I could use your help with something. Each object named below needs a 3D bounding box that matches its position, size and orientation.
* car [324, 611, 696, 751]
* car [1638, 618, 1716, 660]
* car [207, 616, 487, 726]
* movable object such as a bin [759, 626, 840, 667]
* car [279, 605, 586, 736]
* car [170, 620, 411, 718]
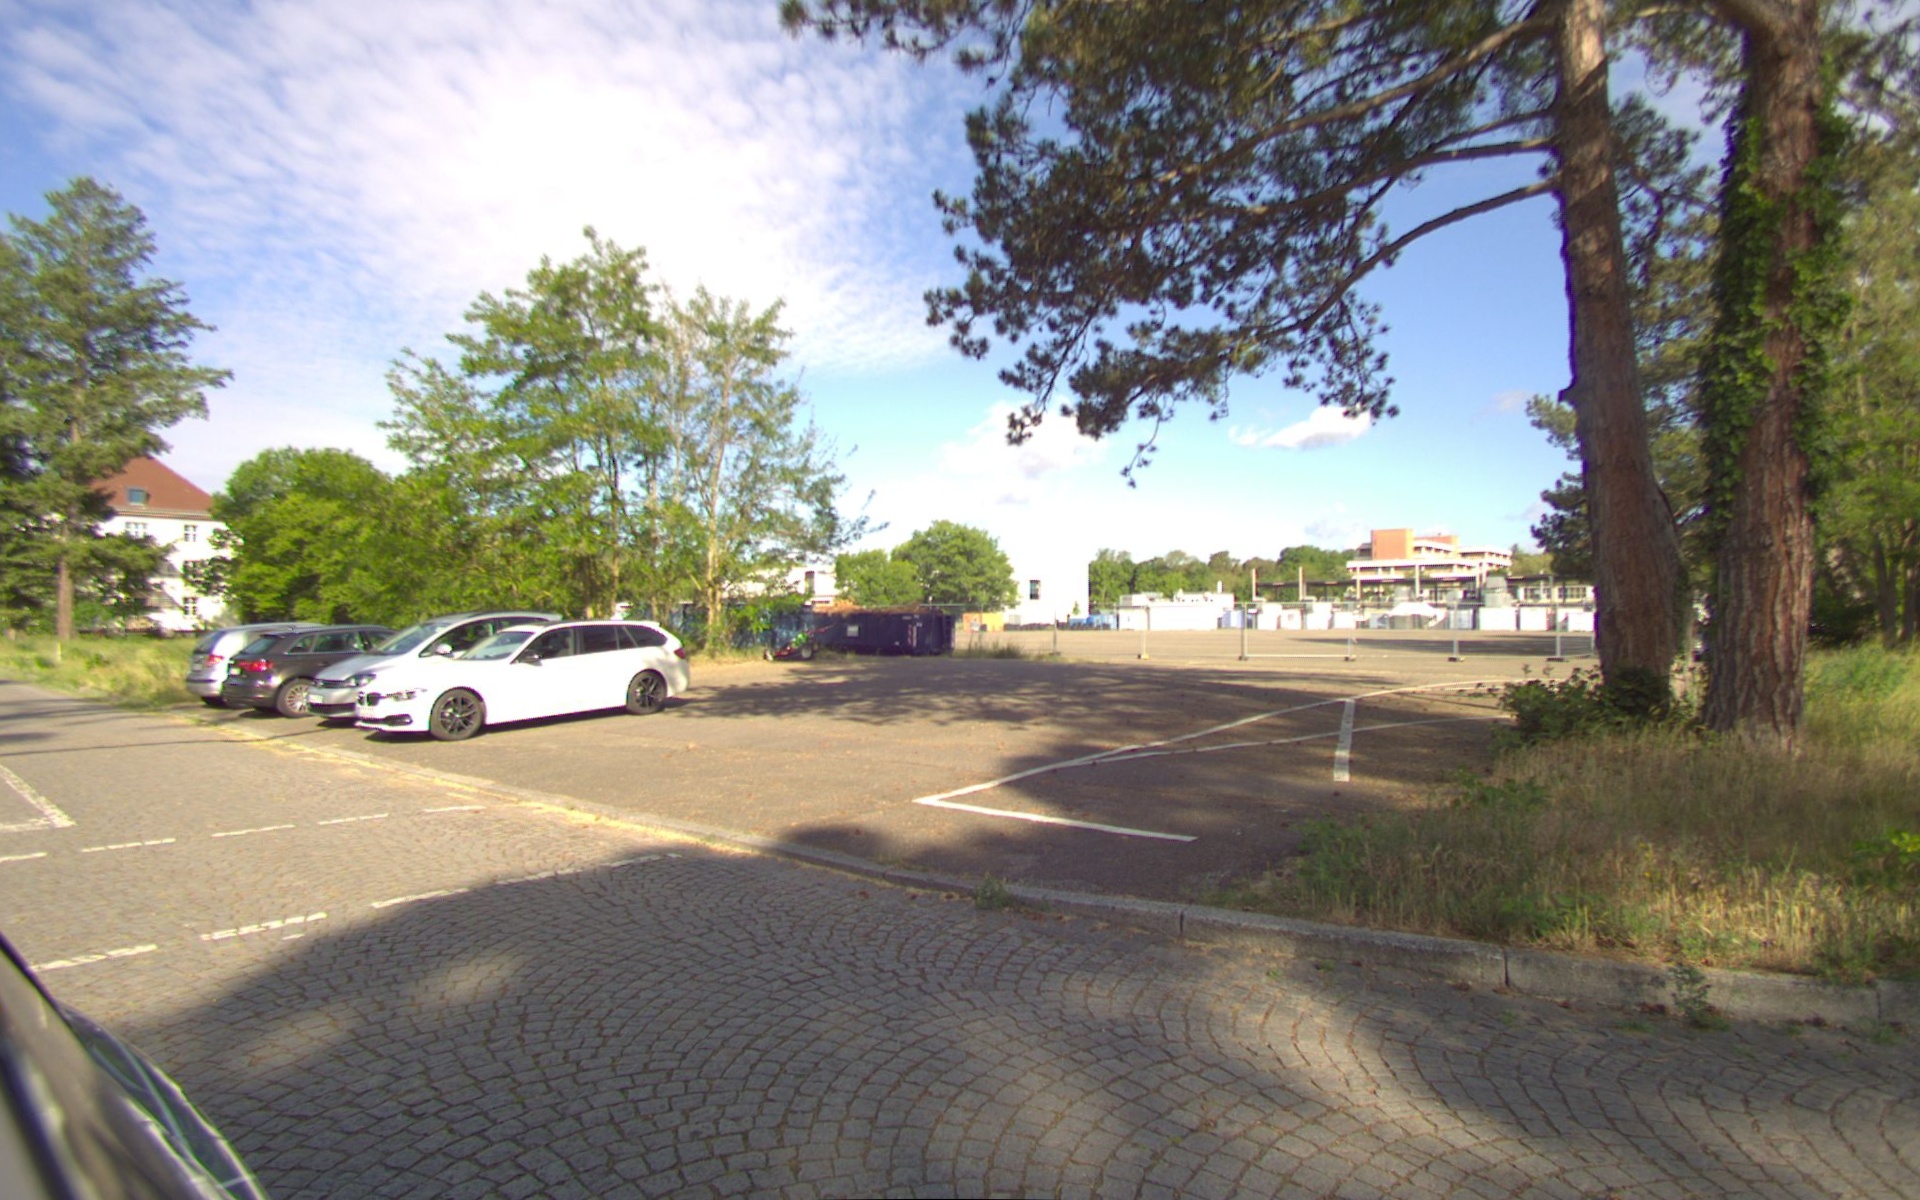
[{"bbox_3d":[-6.154,1.007,14.339,1.750,1.478,4.497,-2,1,39],"label":"car"},{"bbox_3d":[25.217,1.349,35.545,1.747,1.380,3.570,-2,-2,43],"label":"car"},{"bbox_3d":[-10.442,1.119,17.432,1.687,1.482,3.758,-1,1,41],"label":"car"},{"bbox_3d":[-4.682,1.339,29.700,0.997,1.116,2.255,-2,-2,40],"label":"movable object such as a bin"},{"bbox_3d":[-8.157,0.991,15.951,1.719,1.638,3.908,-2,1,37],"label":"car"},{"bbox_3d":[-12.551,1.222,19.121,1.635,1.482,3.431,-2,1,39],"label":"car"}]
